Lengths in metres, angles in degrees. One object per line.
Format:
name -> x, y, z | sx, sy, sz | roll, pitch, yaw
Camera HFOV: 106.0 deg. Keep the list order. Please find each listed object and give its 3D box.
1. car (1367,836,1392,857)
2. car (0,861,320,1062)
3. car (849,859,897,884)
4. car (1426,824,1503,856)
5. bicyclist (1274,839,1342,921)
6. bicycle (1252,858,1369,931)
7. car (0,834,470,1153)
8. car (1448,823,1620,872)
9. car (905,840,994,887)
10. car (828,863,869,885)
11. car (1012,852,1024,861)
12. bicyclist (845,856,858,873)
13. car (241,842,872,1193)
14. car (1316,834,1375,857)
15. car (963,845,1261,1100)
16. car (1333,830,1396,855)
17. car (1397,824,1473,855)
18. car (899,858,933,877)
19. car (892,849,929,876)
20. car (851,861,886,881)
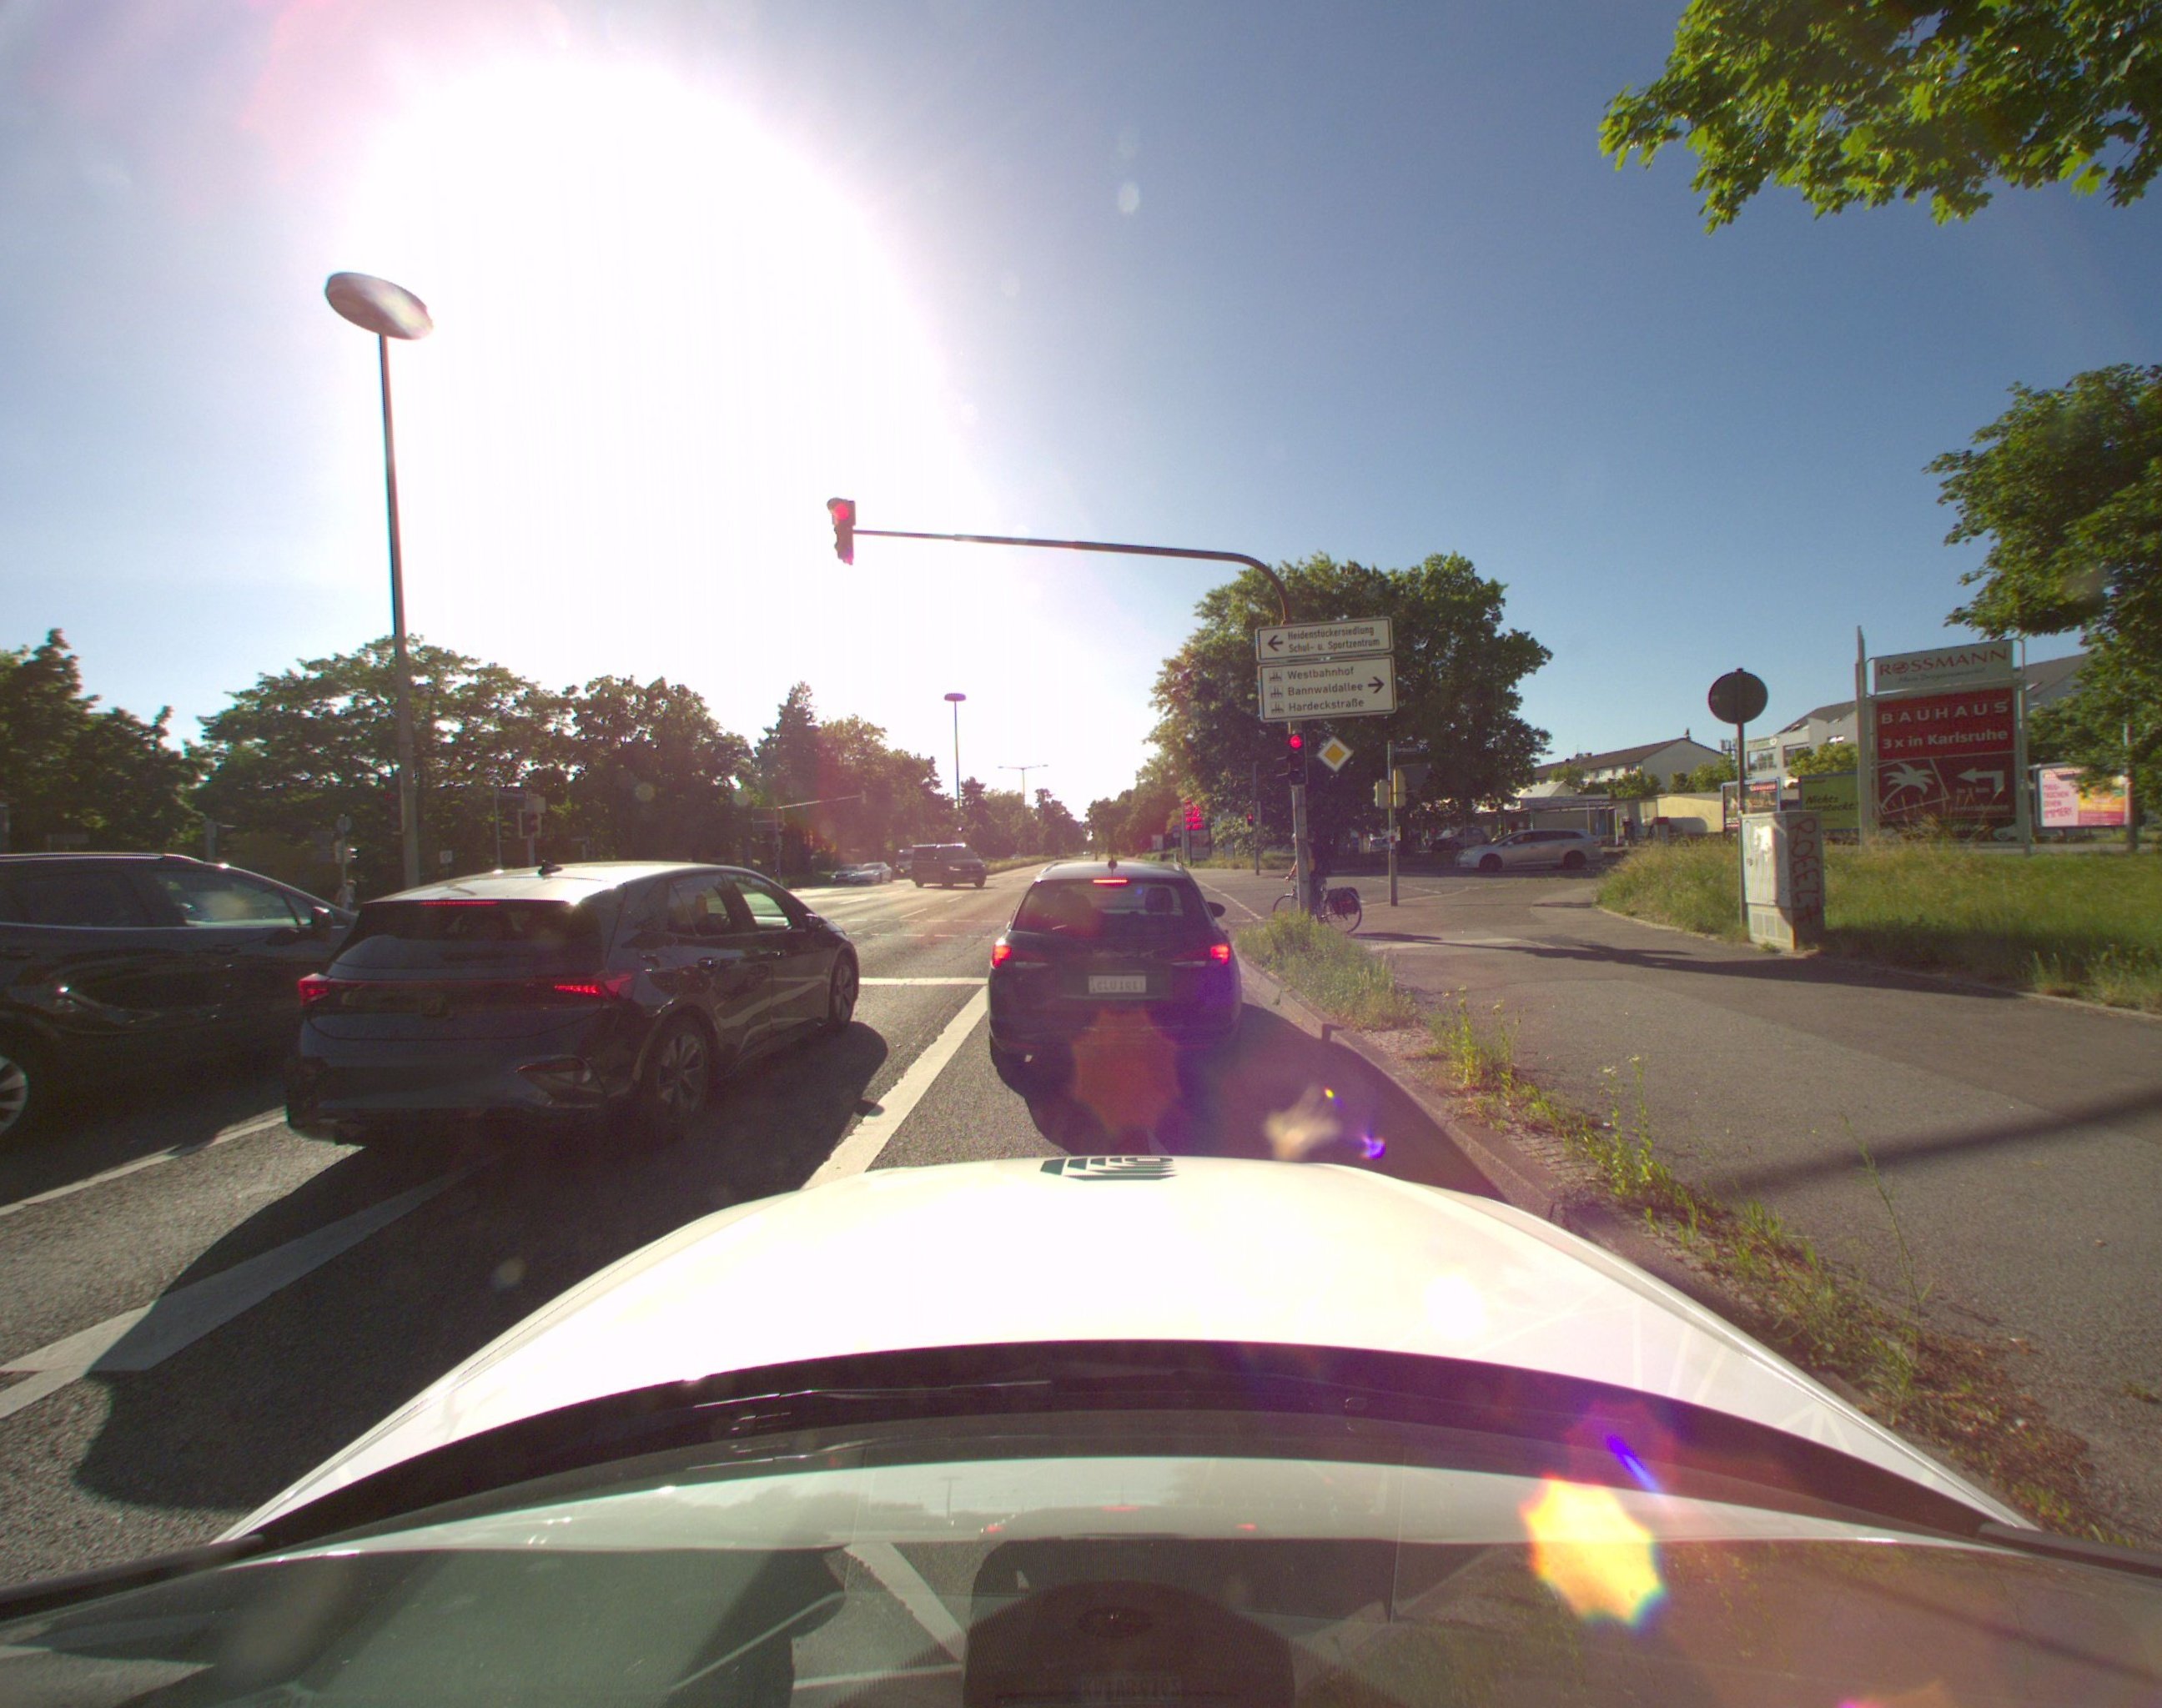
car -> 25.407, -0.654, 69.358 | 1.726, 1.680, 4.018 | -3, 0, 17
car -> -10.224, 0.977, 7.911 | 1.824, 1.702, 3.999 | -3, 0, 0
car -> -14.093, 1.169, 55.460 | 1.881, 1.524, 4.506 | -3, 0, 2
car -> 22.376, -0.813, 47.516 | 4.002, 1.680, 1.733 | -3, 0, -21
bicyclist -> 3.717, 0.435, 13.365 | 0.541, 1.277, 0.819 | -3, -2, -42
bicycle -> 3.730, 0.681, 13.362 | 0.541, 1.097, 1.755 | -3, -2, -42
car -> -6.621, 0.777, 5.508 | 1.798, 1.689, 4.002 | -3, 0, 2
car -> 15.985, -0.213, 29.050 | 4.969, 1.486, 2.007 | -2, 0, 13
car -> -6.166, 0.469, 37.722 | 1.926, 1.992, 4.959 | -3, 0, -37
car -> -17.343, 1.472, 60.934 | 1.680, 1.509, 4.005 | -3, 0, 2
car -> -11.587, 0.422, 150.390 | 1.769, 1.463, 4.166 | -3, 0, 2
bicyclist -> -22.061, 1.014, 78.367 | 0.874, 1.648, 1.198 | -3, 0, -4
car -> -2.960, 0.763, 5.846 | 1.678, 1.580, 4.208 | -1, 0, 2
car -> 19.325, -0.613, 59.516 | 3.903, 1.517, 1.733 | -3, 0, -21
car -> 0.248, 0.717, 6.955 | 1.750, 1.495, 4.208 | -1, 0, 2
car -> 19.660, -0.820, 56.424 | 3.903, 1.517, 1.733 | -3, 0, -21
car -> 21.465, -0.864, 49.393 | 4.003, 1.750, 1.985 | -2, 0, -22
car -> -13.695, 1.111, 67.646 | 1.680, 1.433, 4.617 | -3, 0, 2
car -> -16.711, 0.789, 80.312 | 2.092, 2.492, 6.006 | -3, 0, 2
car -> -17.542, 1.385, 67.439 | 1.680, 1.509, 4.005 | -3, 0, 2
